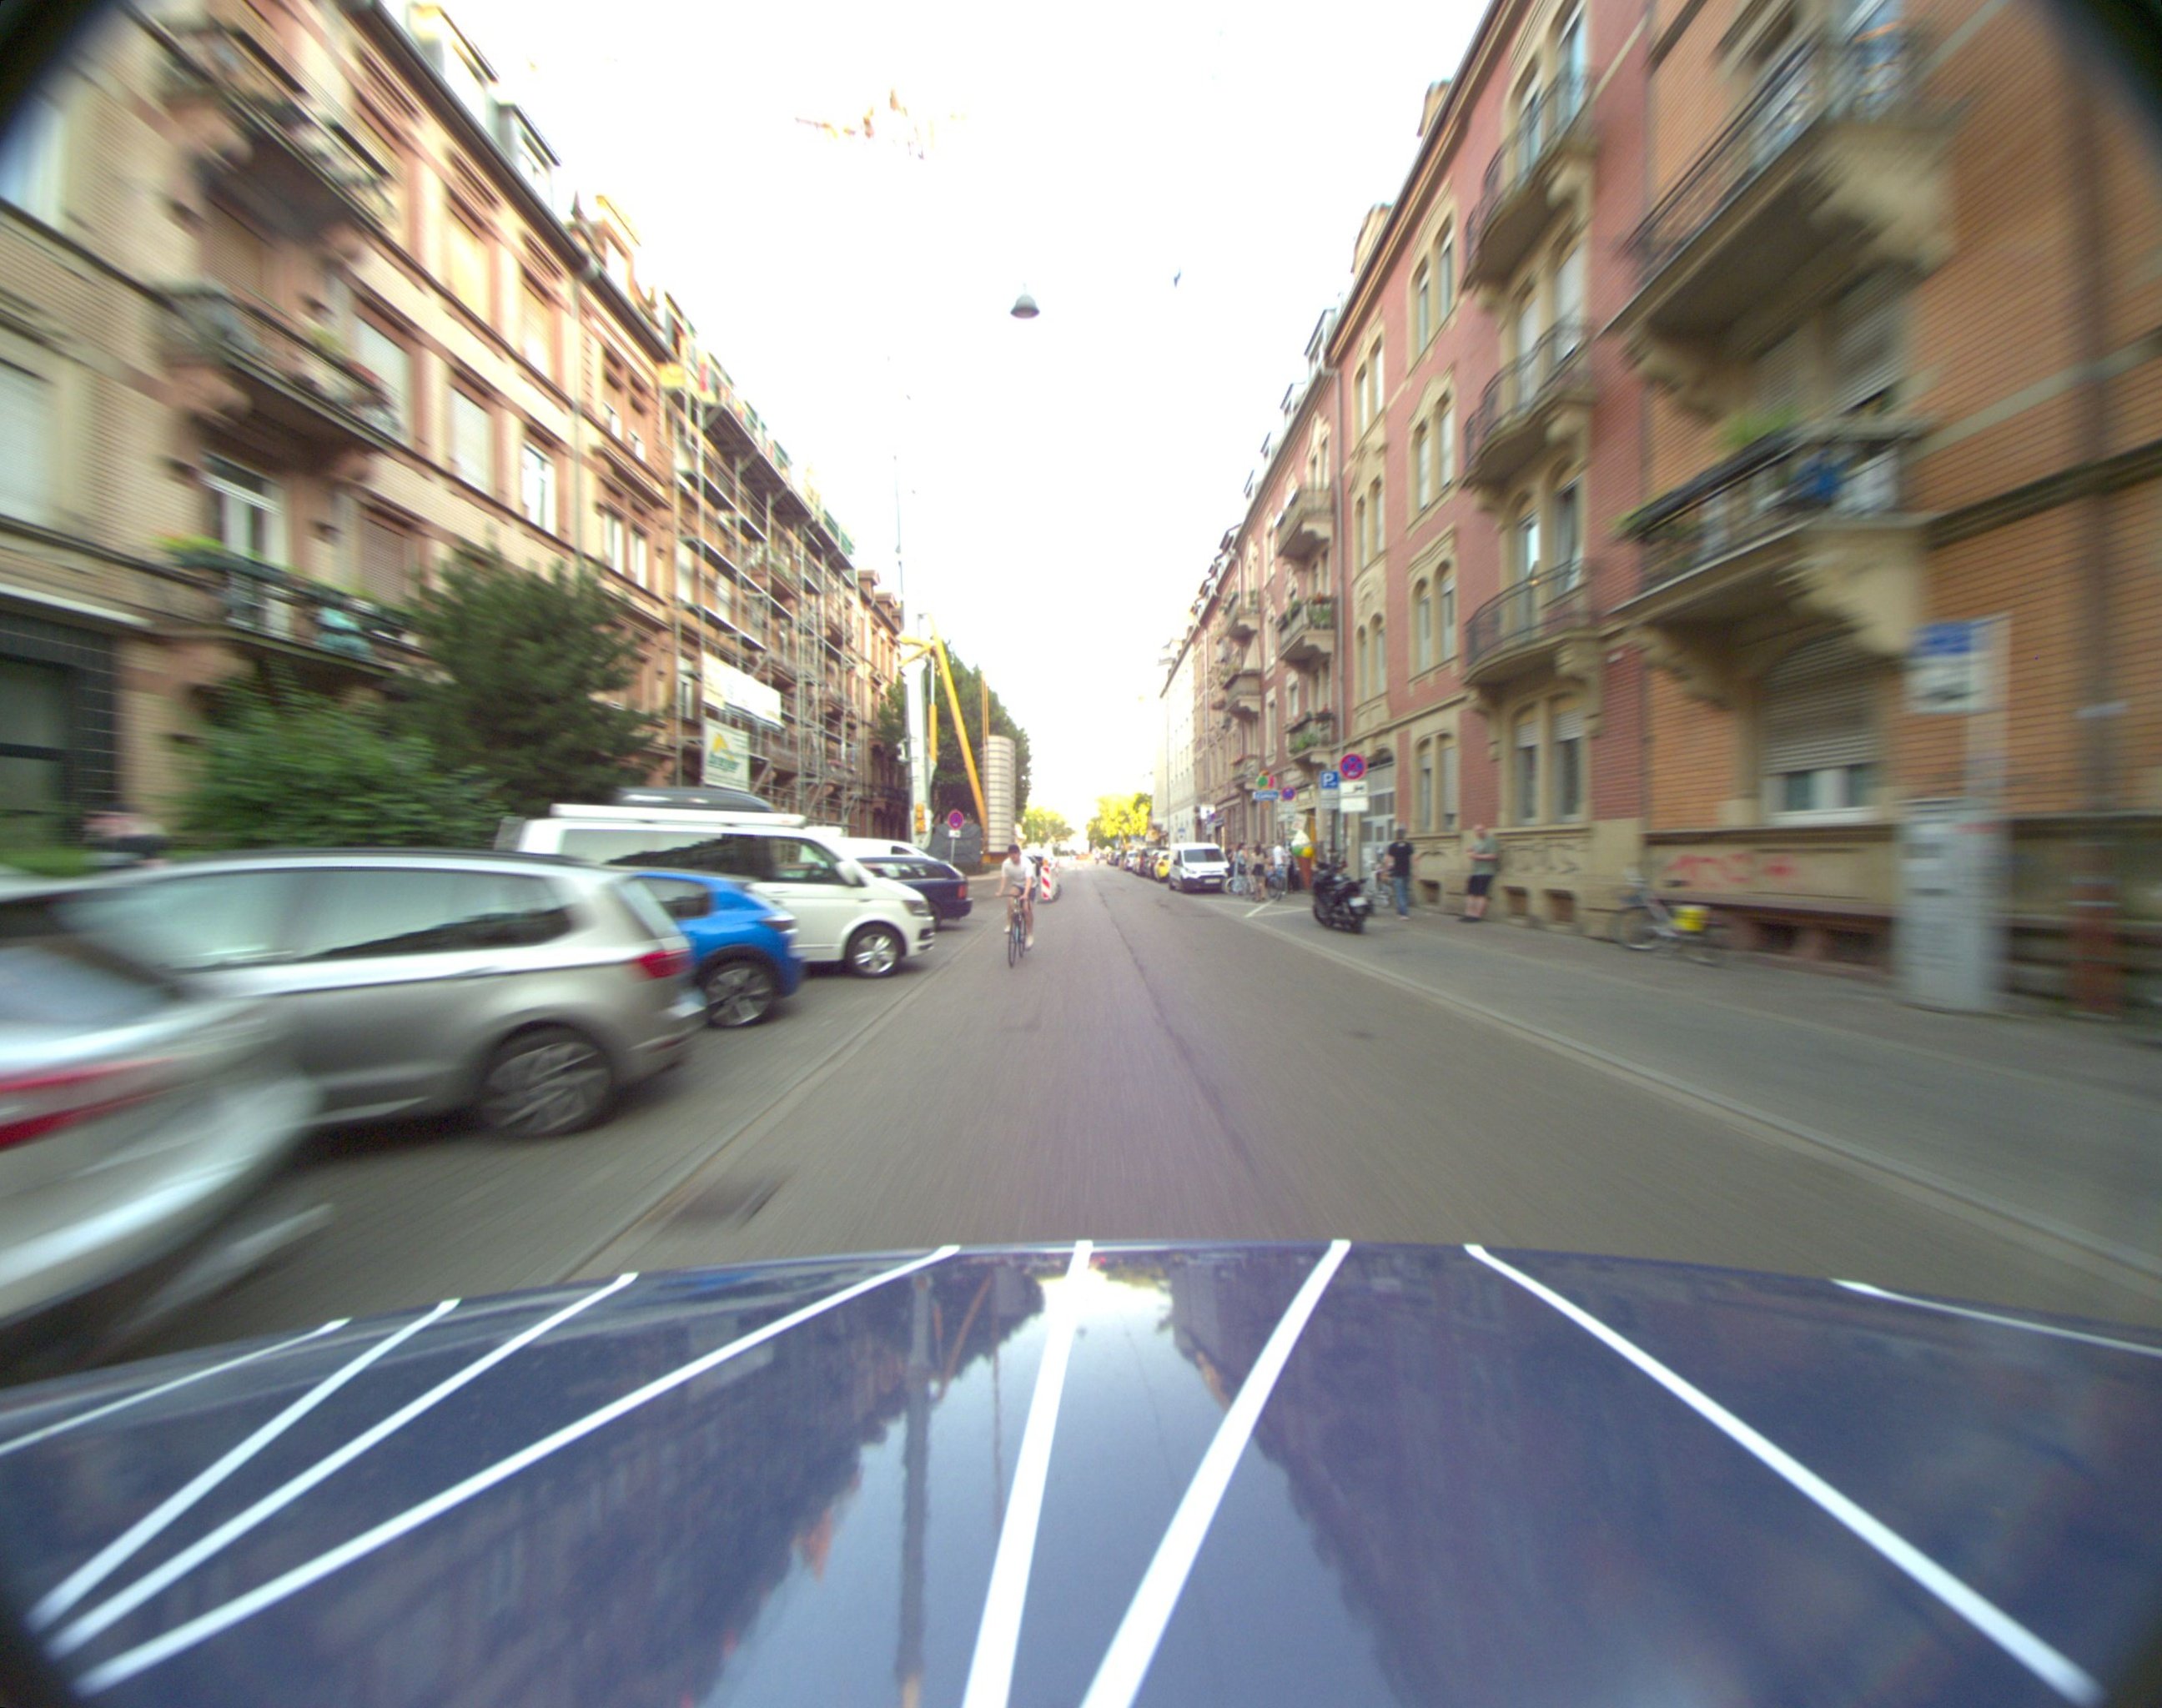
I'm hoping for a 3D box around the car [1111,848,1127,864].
[{"bbox_3d":[4.672,0.242,93.645,1.785,1.860,4.457,-2,1,2],"label":"car"}]

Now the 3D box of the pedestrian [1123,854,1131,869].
[{"bbox_3d":[4.091,0.671,67.605,0.571,1.315,0.496,-2,1,-1],"label":"pedestrian"}]

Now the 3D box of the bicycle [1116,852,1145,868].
[{"bbox_3d":[4.762,0.597,73.174,2.619,1.390,0.602,-2,1,13],"label":"bicycle"}]

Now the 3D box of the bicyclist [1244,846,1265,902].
[{"bbox_3d":[4.961,0.571,21.761,0.467,1.581,0.487,-2,1,3],"label":"bicyclist"}]

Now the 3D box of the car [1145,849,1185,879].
[{"bbox_3d":[4.697,0.521,42.902,1.932,1.587,3.970,-1,0,2],"label":"car"}]

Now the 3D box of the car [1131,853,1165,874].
[{"bbox_3d":[4.710,0.641,53.639,1.932,1.422,4.481,-1,0,-1],"label":"car"}]

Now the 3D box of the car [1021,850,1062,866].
[{"bbox_3d":[-4.046,0.449,77.422,3.842,1.510,1.673,1,1,-32],"label":"car"}]

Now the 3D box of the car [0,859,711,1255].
[{"bbox_3d":[-4.439,0.860,4.149,4.174,1.581,1.881,2,-1,-30],"label":"car"}]

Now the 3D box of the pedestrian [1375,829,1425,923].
[{"bbox_3d":[6.317,0.421,15.080,0.683,1.800,0.962,-2,1,10],"label":"pedestrian"}]

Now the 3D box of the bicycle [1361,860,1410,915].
[{"bbox_3d":[7.030,0.753,17.629,0.412,1.153,1.837,-2,1,1],"label":"bicycle"}]

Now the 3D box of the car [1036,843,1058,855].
[{"bbox_3d":[-6.912,-0.966,153.625,4.201,2.246,1.673,1,1,-35],"label":"car"}]

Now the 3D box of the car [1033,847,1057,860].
[{"bbox_3d":[-6.892,-0.139,145.194,4.202,2.280,1.673,1,1,-39],"label":"car"}]

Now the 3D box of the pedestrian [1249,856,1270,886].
[{"bbox_3d":[6.999,0.645,29.830,0.633,1.133,0.573,-2,1,-2],"label":"pedestrian"}]

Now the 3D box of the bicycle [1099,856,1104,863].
[{"bbox_3d":[2.802,0.785,103.687,0.477,0.938,1.895,-2,1,-1],"label":"bicycle"}]

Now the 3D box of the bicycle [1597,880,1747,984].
[{"bbox_3d":[6.966,0.870,9.064,0.449,1.024,1.740,-2,1,1],"label":"bicycle"}]

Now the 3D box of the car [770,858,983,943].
[{"bbox_3d":[-4.100,0.833,15.241,3.873,1.507,1.844,0,0,-26],"label":"car"}]

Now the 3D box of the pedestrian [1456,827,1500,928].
[{"bbox_3d":[7.226,0.420,13.847,0.464,1.779,0.642,-2,1,4],"label":"pedestrian"}]

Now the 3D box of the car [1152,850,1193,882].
[{"bbox_3d":[4.563,0.579,38.328,1.709,1.521,3.793,-1,0,2],"label":"car"}]

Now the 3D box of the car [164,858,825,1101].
[{"bbox_3d":[-4.628,0.838,6.814,4.173,1.581,1.881,0,0,-28],"label":"car"}]

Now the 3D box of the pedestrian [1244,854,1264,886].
[{"bbox_3d":[7.002,0.629,30.705,0.620,1.244,0.585,-2,1,-2],"label":"pedestrian"}]

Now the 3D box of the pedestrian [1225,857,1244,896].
[{"bbox_3d":[5.136,0.744,25.436,0.479,1.244,0.652,-2,1,1],"label":"pedestrian"}]

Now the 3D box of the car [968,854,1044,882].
[{"bbox_3d":[-4.275,0.810,43.518,4.003,1.479,1.680,1,0,-34],"label":"car"}]

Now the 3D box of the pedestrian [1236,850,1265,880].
[{"bbox_3d":[6.982,0.447,31.284,1.041,1.196,0.503,-2,1,-2],"label":"pedestrian"}]

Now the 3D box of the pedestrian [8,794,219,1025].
[{"bbox_3d":[-7.814,0.418,6.193,0.687,1.740,0.825,1,1,-13],"label":"pedestrian"}]

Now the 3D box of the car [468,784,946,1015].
[{"bbox_3d":[-4.410,0.466,9.683,4.945,2.348,1.996,0,0,-26],"label":"car"}]

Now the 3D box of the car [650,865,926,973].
[{"bbox_3d":[-4.665,0.922,12.245,3.874,1.400,1.754,0,1,-33],"label":"car"}]

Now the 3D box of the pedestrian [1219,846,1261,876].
[{"bbox_3d":[6.652,0.285,31.858,1.566,1.196,0.641,-2,1,-2],"label":"pedestrian"}]

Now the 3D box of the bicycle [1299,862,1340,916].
[{"bbox_3d":[5.619,0.797,17.994,0.412,1.153,1.837,-2,1,1],"label":"bicycle"}]

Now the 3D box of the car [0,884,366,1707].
[{"bbox_3d":[-4.216,0.860,1.229,4.116,1.581,1.814,2,0,-30],"label":"car"}]

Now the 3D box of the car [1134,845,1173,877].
[{"bbox_3d":[4.558,0.393,48.189,1.932,1.872,4.904,-1,0,-1],"label":"car"}]

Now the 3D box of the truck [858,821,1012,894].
[{"bbox_3d":[-6.687,0.141,35.435,6.495,3.059,2.524,-2,1,3],"label":"truck"}]

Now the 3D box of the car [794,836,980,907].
[{"bbox_3d":[-5.829,0.536,23.303,5.186,1.944,1.899,2,-1,-1],"label":"car"}]

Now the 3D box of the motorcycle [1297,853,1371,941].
[{"bbox_3d":[4.439,0.712,13.478,0.686,1.397,2.014,-2,1,3],"label":"motorcycle"}]

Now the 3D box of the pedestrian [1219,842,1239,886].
[{"bbox_3d":[5.873,0.390,30.138,0.619,1.720,0.586,-1,2,28],"label":"pedestrian"}]

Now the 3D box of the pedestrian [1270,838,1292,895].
[{"bbox_3d":[6.477,0.405,24.601,0.598,1.804,0.721,-2,1,18],"label":"pedestrian"}]

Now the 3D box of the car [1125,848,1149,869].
[{"bbox_3d":[4.592,0.349,62.731,1.730,1.638,3.916,-2,0,0],"label":"car"}]

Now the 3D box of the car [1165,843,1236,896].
[{"bbox_3d":[4.327,0.496,28.178,1.775,1.778,4.586,-2,1,-2],"label":"car"}]

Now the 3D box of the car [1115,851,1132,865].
[{"bbox_3d":[4.962,0.465,88.668,1.785,1.537,4.000,-2,1,2],"label":"car"}]

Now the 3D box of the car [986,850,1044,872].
[{"bbox_3d":[-4.772,0.505,54.925,3.807,1.508,1.646,1,0,-32],"label":"car"}]

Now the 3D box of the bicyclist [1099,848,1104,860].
[{"bbox_3d":[2.775,-0.009,103.610,0.624,1.682,1.003,-2,1,-1],"label":"bicyclist"}]

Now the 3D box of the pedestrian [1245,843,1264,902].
[{"bbox_3d":[5.060,0.530,22.198,0.419,1.699,0.350,-2,1,-5],"label":"pedestrian"}]

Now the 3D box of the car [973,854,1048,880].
[{"bbox_3d":[-4.306,0.785,46.504,4.179,1.479,1.826,1,0,-36],"label":"car"}]

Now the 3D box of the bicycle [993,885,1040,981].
[{"bbox_3d":[-0.906,1.083,10.937,0.520,1.148,1.782,-2,1,-1],"label":"bicycle"}]

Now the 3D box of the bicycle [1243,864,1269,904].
[{"bbox_3d":[4.958,0.834,21.582,0.467,1.062,1.520,-2,1,4],"label":"bicycle"}]

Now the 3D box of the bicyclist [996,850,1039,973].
[{"bbox_3d":[-0.906,0.799,10.989,0.529,1.694,0.789,-2,1,-2],"label":"bicyclist"}]

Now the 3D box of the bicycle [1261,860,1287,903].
[{"bbox_3d":[5.634,0.782,22.262,0.466,1.148,2.001,-2,1,7],"label":"bicycle"}]

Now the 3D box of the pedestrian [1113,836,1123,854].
[{"bbox_3d":[5.763,-1.453,119.002,1.445,2.725,1.011,-2,1,-1],"label":"pedestrian"}]

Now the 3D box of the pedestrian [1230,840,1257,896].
[{"bbox_3d":[5.269,0.445,24.719,0.600,1.804,0.720,-2,1,-8],"label":"pedestrian"}]

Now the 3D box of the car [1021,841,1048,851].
[{"bbox_3d":[-7.298,-1.260,118.945,3.841,1.510,1.673,2,1,-28],"label":"car"}]

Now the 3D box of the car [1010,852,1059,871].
[{"bbox_3d":[-4.049,0.676,66.507,3.841,1.557,1.673,2,1,-30],"label":"car"}]

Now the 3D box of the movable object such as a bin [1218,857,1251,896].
[{"bbox_3d":[5.122,0.745,25.396,0.889,1.244,0.776,-2,1,1],"label":"movable object such as a bin"}]

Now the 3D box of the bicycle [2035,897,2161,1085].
[{"bbox_3d":[7.088,0.873,4.296,0.752,1.095,2.024,-2,1,-6],"label":"bicycle"}]
